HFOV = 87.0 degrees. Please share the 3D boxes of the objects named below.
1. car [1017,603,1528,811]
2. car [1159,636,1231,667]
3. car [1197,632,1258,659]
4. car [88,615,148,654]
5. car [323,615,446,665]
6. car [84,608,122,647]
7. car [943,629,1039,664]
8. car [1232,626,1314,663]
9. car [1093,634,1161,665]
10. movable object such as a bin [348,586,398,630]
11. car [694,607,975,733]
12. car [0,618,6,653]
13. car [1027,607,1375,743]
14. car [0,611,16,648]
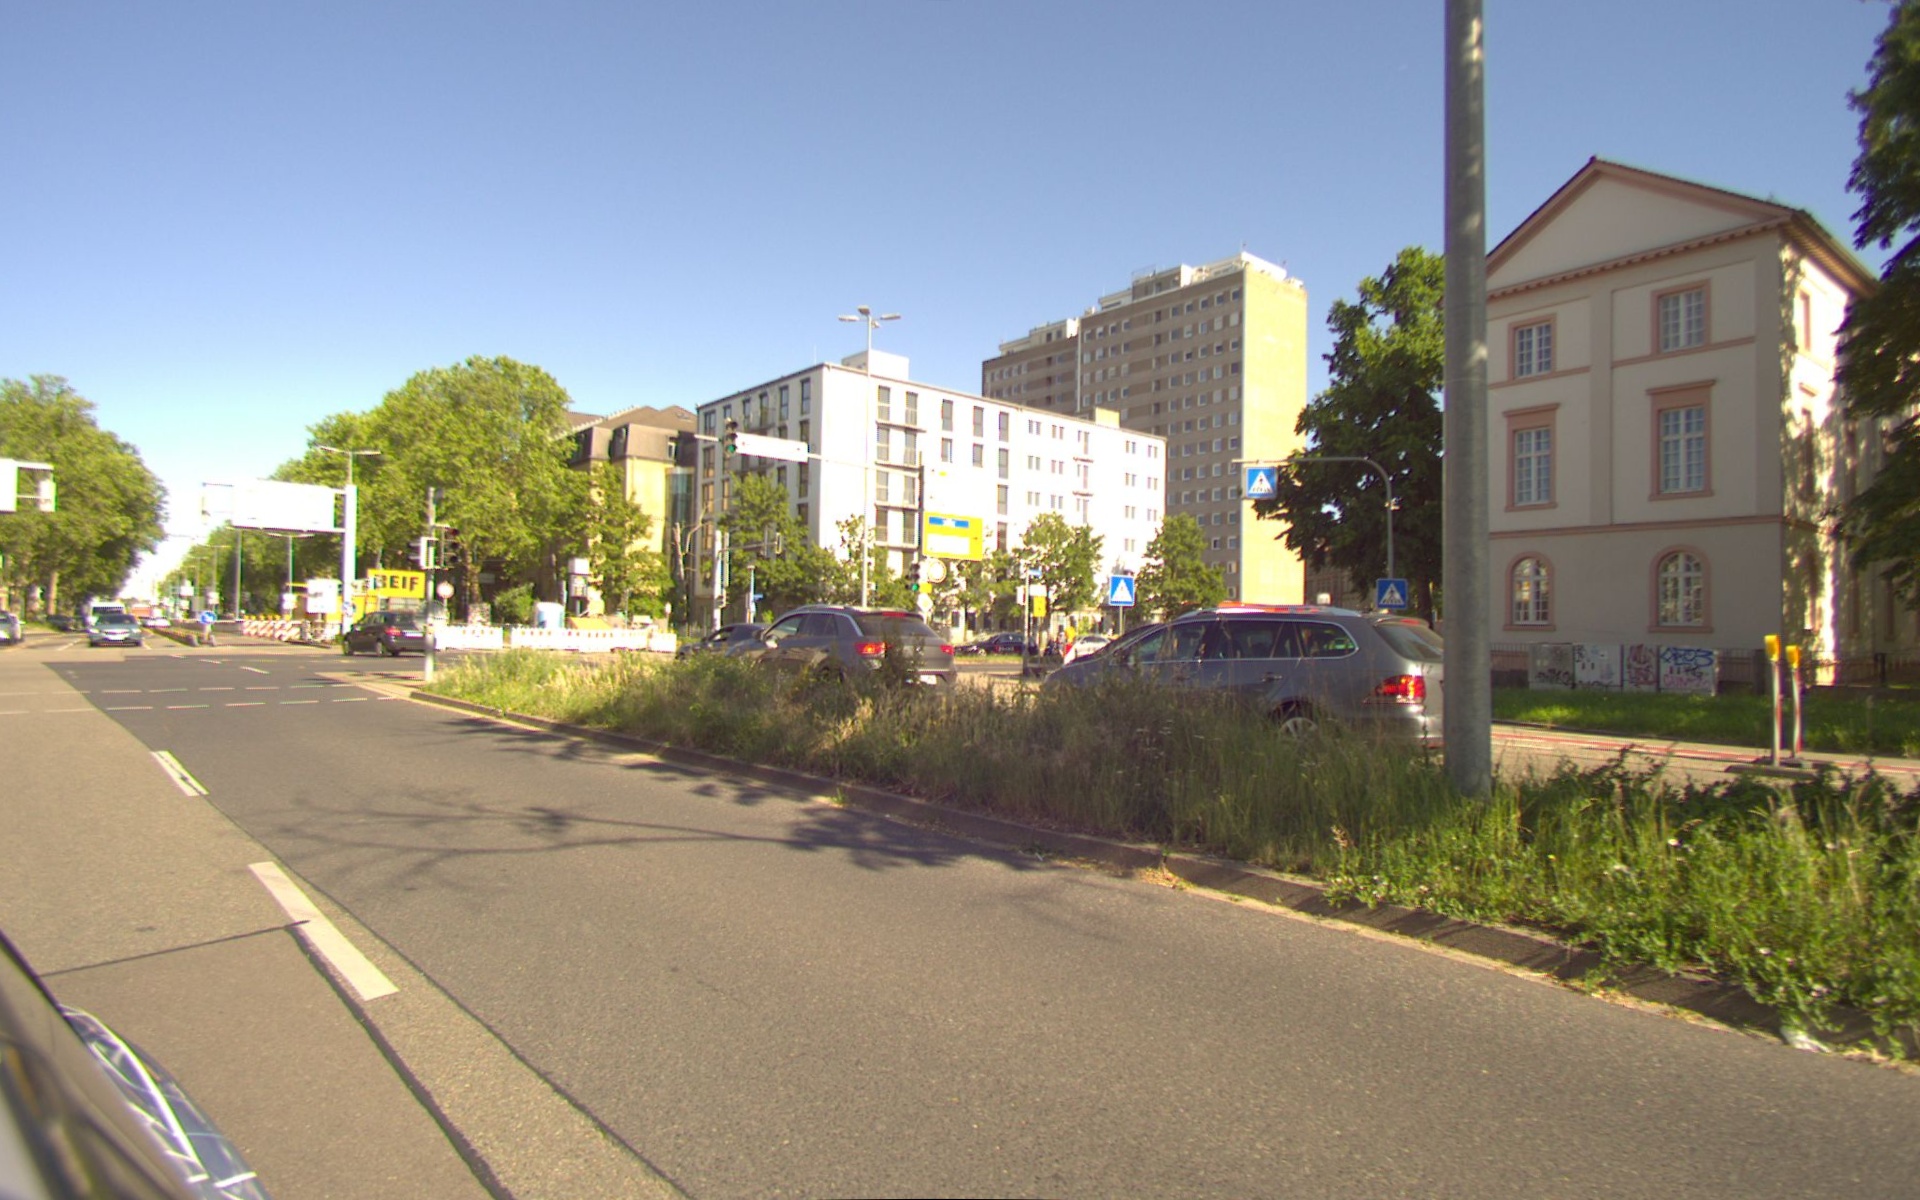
[{"bbox_3d":[2.739,0.834,9.684,1.774,1.530,4.367,1,-2,-43],"label":"car"},{"bbox_3d":[14.358,3.121,61.789,4.638,1.630,1.922,1,1,-41],"label":"car"},{"bbox_3d":[18.164,3.042,68.622,3.935,1.630,1.923,1,1,-37],"label":"car"},{"bbox_3d":[-38.895,1.563,46.828,1.853,1.530,4.010,1,1,-36],"label":"car"},{"bbox_3d":[-19.819,1.335,34.827,4.263,1.598,1.843,0,-2,32],"label":"car"},{"bbox_3d":[-57.905,1.825,68.361,1.855,2.532,4.457,2,-2,-41],"label":"car"},{"bbox_3d":[1.612,2.370,52.171,4.632,1.630,1.924,1,1,-34],"label":"car"},{"bbox_3d":[20.658,2.895,66.694,5.802,2.247,1.924,1,1,-35],"label":"car"},{"bbox_3d":[9.580,2.806,57.947,3.935,1.630,1.565,1,1,-38],"label":"car"},{"bbox_3d":[-35.868,0.471,61.798,1.968,2.494,4.008,1,1,-39],"label":"movable object such as a bin"},{"bbox_3d":[-1.931,0.870,14.515,1.774,1.530,4.351,1,-1,-43],"label":"car"},{"bbox_3d":[-41.492,1.505,42.267,1.853,1.530,4.009,1,-1,-36],"label":"car"},{"bbox_3d":[3.101,0.872,13.731,1.774,1.530,4.351,1,-1,-43],"label":"car"},{"bbox_3d":[-46.942,1.400,48.592,1.853,1.530,4.010,1,1,-36],"label":"car"}]
